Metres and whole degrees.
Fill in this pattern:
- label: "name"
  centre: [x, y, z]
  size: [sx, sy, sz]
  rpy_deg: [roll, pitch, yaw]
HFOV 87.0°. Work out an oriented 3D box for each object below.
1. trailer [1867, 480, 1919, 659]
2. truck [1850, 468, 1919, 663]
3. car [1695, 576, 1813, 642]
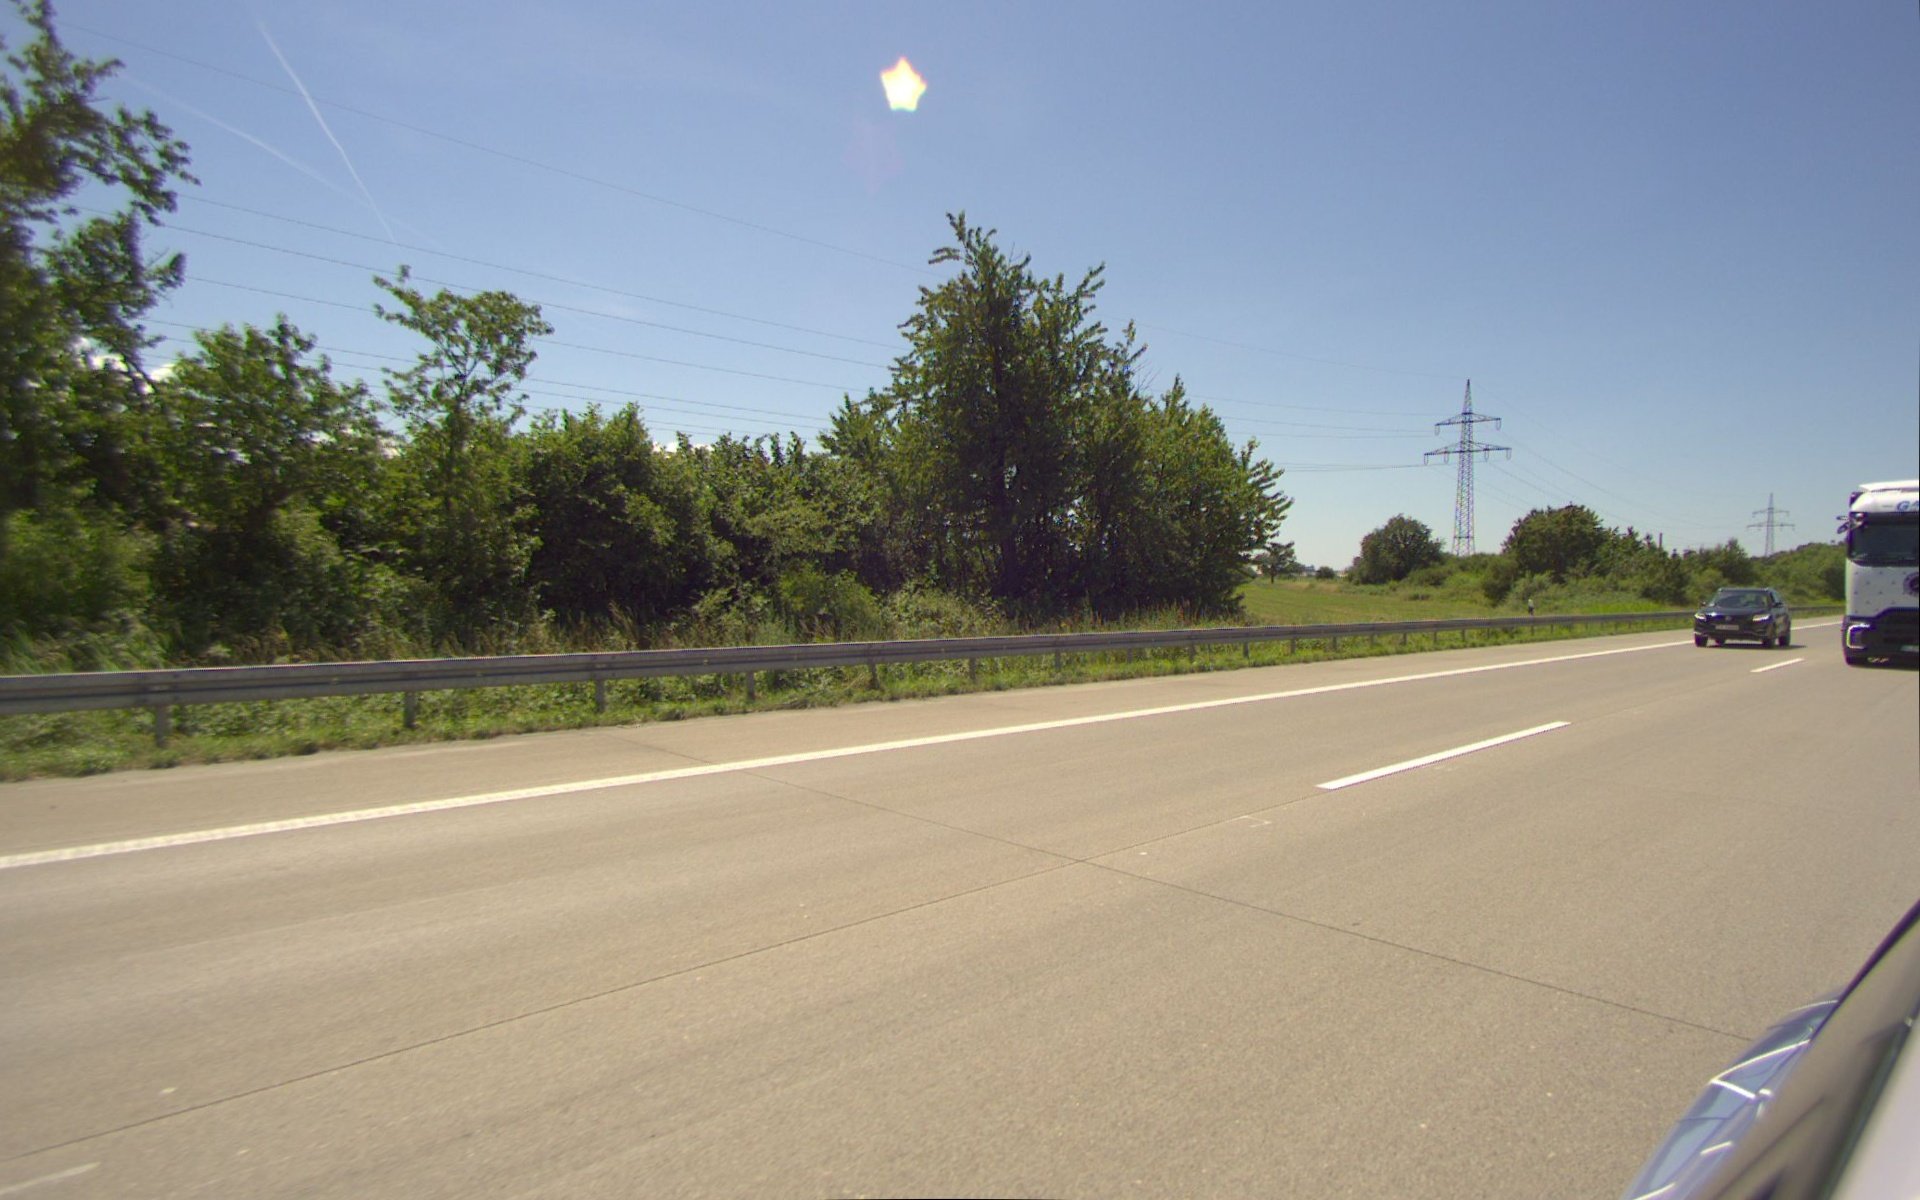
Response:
- label: "trailer"
  centre: [25.084, -0.695, 25.486]
  size: [10.200, 3.926, 2.583]
  rpy_deg: [0, 0, -44]
- label: "truck"
  centre: [21.191, -0.706, 21.822]
  size: [4.901, 3.927, 2.583]
  rpy_deg: [0, 0, -44]
- label: "car"
  centre: [23.149, 0.224, 29.461]
  size: [3.930, 1.805, 1.997]
  rpy_deg: [0, 0, -41]
